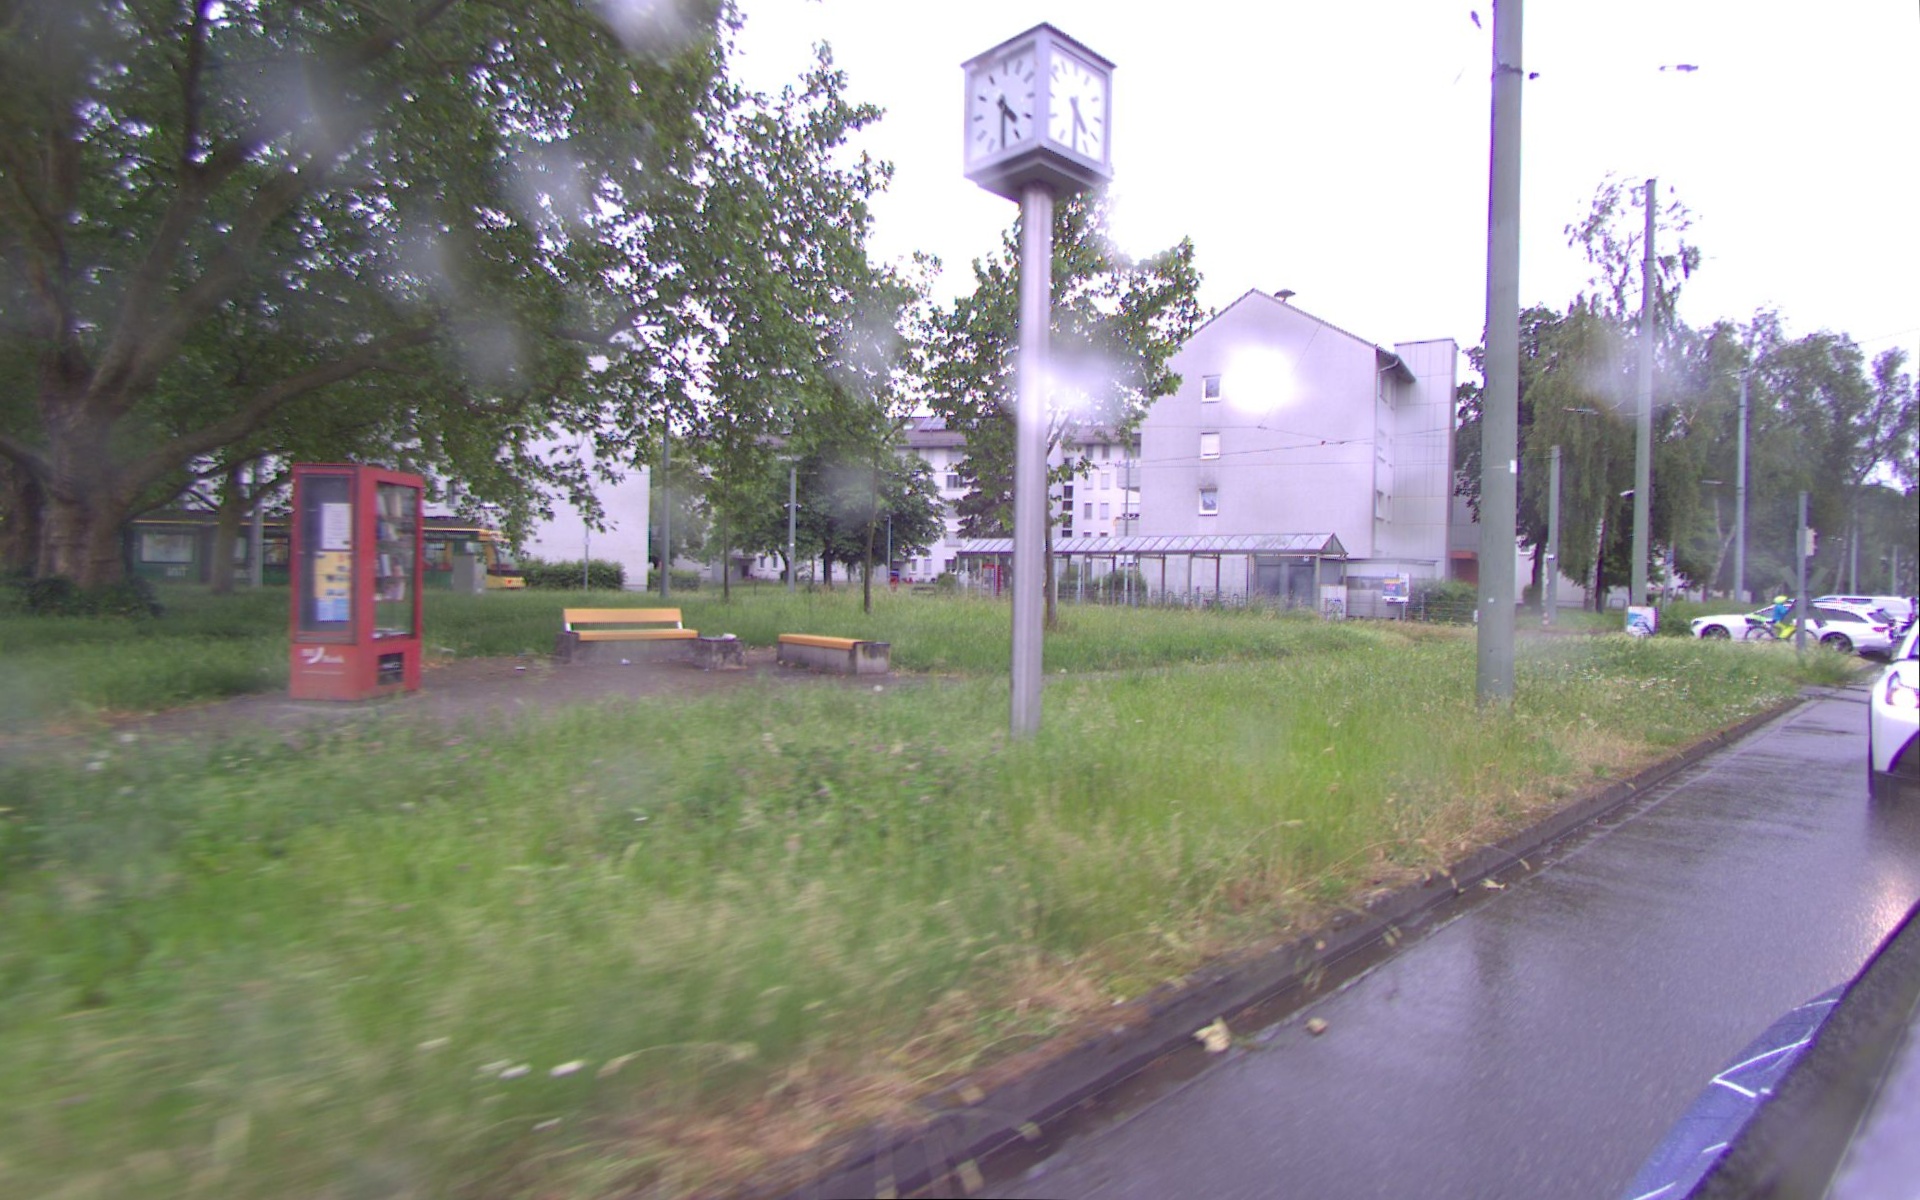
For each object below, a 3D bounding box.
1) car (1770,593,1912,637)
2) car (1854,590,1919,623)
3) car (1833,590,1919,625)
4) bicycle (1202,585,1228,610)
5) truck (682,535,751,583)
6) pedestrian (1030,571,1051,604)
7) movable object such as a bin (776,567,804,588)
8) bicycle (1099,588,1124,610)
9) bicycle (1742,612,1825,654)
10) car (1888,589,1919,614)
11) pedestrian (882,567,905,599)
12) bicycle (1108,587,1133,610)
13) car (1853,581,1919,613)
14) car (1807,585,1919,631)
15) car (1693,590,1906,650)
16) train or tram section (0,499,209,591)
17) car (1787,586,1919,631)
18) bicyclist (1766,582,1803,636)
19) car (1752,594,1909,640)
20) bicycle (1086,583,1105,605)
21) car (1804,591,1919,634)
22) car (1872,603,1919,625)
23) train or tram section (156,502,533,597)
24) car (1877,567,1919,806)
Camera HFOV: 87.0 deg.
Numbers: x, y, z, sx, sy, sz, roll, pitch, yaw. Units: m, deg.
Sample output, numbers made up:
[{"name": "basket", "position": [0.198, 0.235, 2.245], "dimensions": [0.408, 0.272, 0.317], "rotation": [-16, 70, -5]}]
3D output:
[{"name": "car", "position": [33.934, 0.568, 39.060], "dimensions": [1.693, 1.606, 3.992], "rotation": [0, 0, -42]}, {"name": "car", "position": [58.588, 0.400, 62.797], "dimensions": [1.868, 1.967, 4.537], "rotation": [1, 0, -44]}, {"name": "car", "position": [54.414, 0.420, 59.537], "dimensions": [1.868, 1.967, 4.537], "rotation": [1, 0, -44]}, {"name": "bicycle", "position": [10.170, -0.095, 40.335], "dimensions": [1.216, 0.968, 0.377], "rotation": [0, -1, -41]}, {"name": "truck", "position": [-19.559, -3.168, 81.073], "dimensions": [3.140, 3.518, 7.149], "rotation": [0, 0, -34]}, {"name": "pedestrian", "position": [3.851, -0.586, 48.453], "dimensions": [0.634, 1.592, 0.777], "rotation": [-1, -1, 45]}, {"name": "movable object such as a bin", "position": [-16.855, -2.223, 100.525], "dimensions": [1.880, 2.039, 2.222], "rotation": [0, 0, 20]}, {"name": "bicycle", "position": [6.691, -0.065, 44.583], "dimensions": [1.216, 0.959, 0.377], "rotation": [0, -1, -41]}, {"name": "bicycle", "position": [24.007, 0.959, 29.547], "dimensions": [1.737, 1.144, 0.721], "rotation": [1, 0, 28]}, {"name": "car", "position": [77.072, 0.128, 80.643], "dimensions": [1.868, 2.051, 4.537], "rotation": [1, 0, -44]}, {"name": "pedestrian", "position": [-3.955, -1.000, 60.185], "dimensions": [1.165, 1.907, 1.056], "rotation": [0, -1, -16]}, {"name": "bicycle", "position": [7.002, -0.067, 44.193], "dimensions": [1.216, 0.959, 0.377], "rotation": [0, -1, -41]}, {"name": "car", "position": [61.515, -0.189, 66.357], "dimensions": [4.430, 2.088, 1.696], "rotation": [0, 0, 44]}, {"name": "car", "position": [42.947, 0.383, 47.789], "dimensions": [4.430, 2.088, 1.696], "rotation": [0, 0, 44]}, {"name": "car", "position": [25.921, 0.566, 31.406], "dimensions": [1.966, 1.476, 4.834], "rotation": [1, 3, -43]}, {"name": "train or tram section", "position": [-40.300, -2.380, 43.320], "dimensions": [14.463, 3.635, 2.713], "rotation": [1, 0, 2]}, {"name": "car", "position": [39.180, 0.373, 44.292], "dimensions": [1.693, 1.869, 4.436], "rotation": [0, 0, -42]}, {"name": "bicyclist", "position": [24.054, 0.260, 29.532], "dimensions": [0.692, 1.536, 0.718], "rotation": [1, -1, 27]}, {"name": "car", "position": [30.370, 0.564, 35.378], "dimensions": [1.693, 1.505, 3.992], "rotation": [0, 0, -42]}, {"name": "bicycle", "position": [6.074, -0.254, 45.319], "dimensions": [0.414, 0.959, 1.294], "rotation": [-1, 0, 30]}, {"name": "car", "position": [41.064, 0.551, 45.608], "dimensions": [1.693, 1.869, 4.436], "rotation": [0, 0, -42]}, {"name": "car", "position": [71.727, 1.023, 76.134], "dimensions": [1.868, 1.603, 4.537], "rotation": [1, 0, -44]}, {"name": "train or tram section", "position": [-25.859, -2.091, 42.909], "dimensions": [14.463, 3.635, 2.713], "rotation": [1, 0, 2]}, {"name": "car", "position": [8.383, 0.666, 7.755], "dimensions": [3.652, 1.644, 1.717], "rotation": [3, -1, -43]}]
